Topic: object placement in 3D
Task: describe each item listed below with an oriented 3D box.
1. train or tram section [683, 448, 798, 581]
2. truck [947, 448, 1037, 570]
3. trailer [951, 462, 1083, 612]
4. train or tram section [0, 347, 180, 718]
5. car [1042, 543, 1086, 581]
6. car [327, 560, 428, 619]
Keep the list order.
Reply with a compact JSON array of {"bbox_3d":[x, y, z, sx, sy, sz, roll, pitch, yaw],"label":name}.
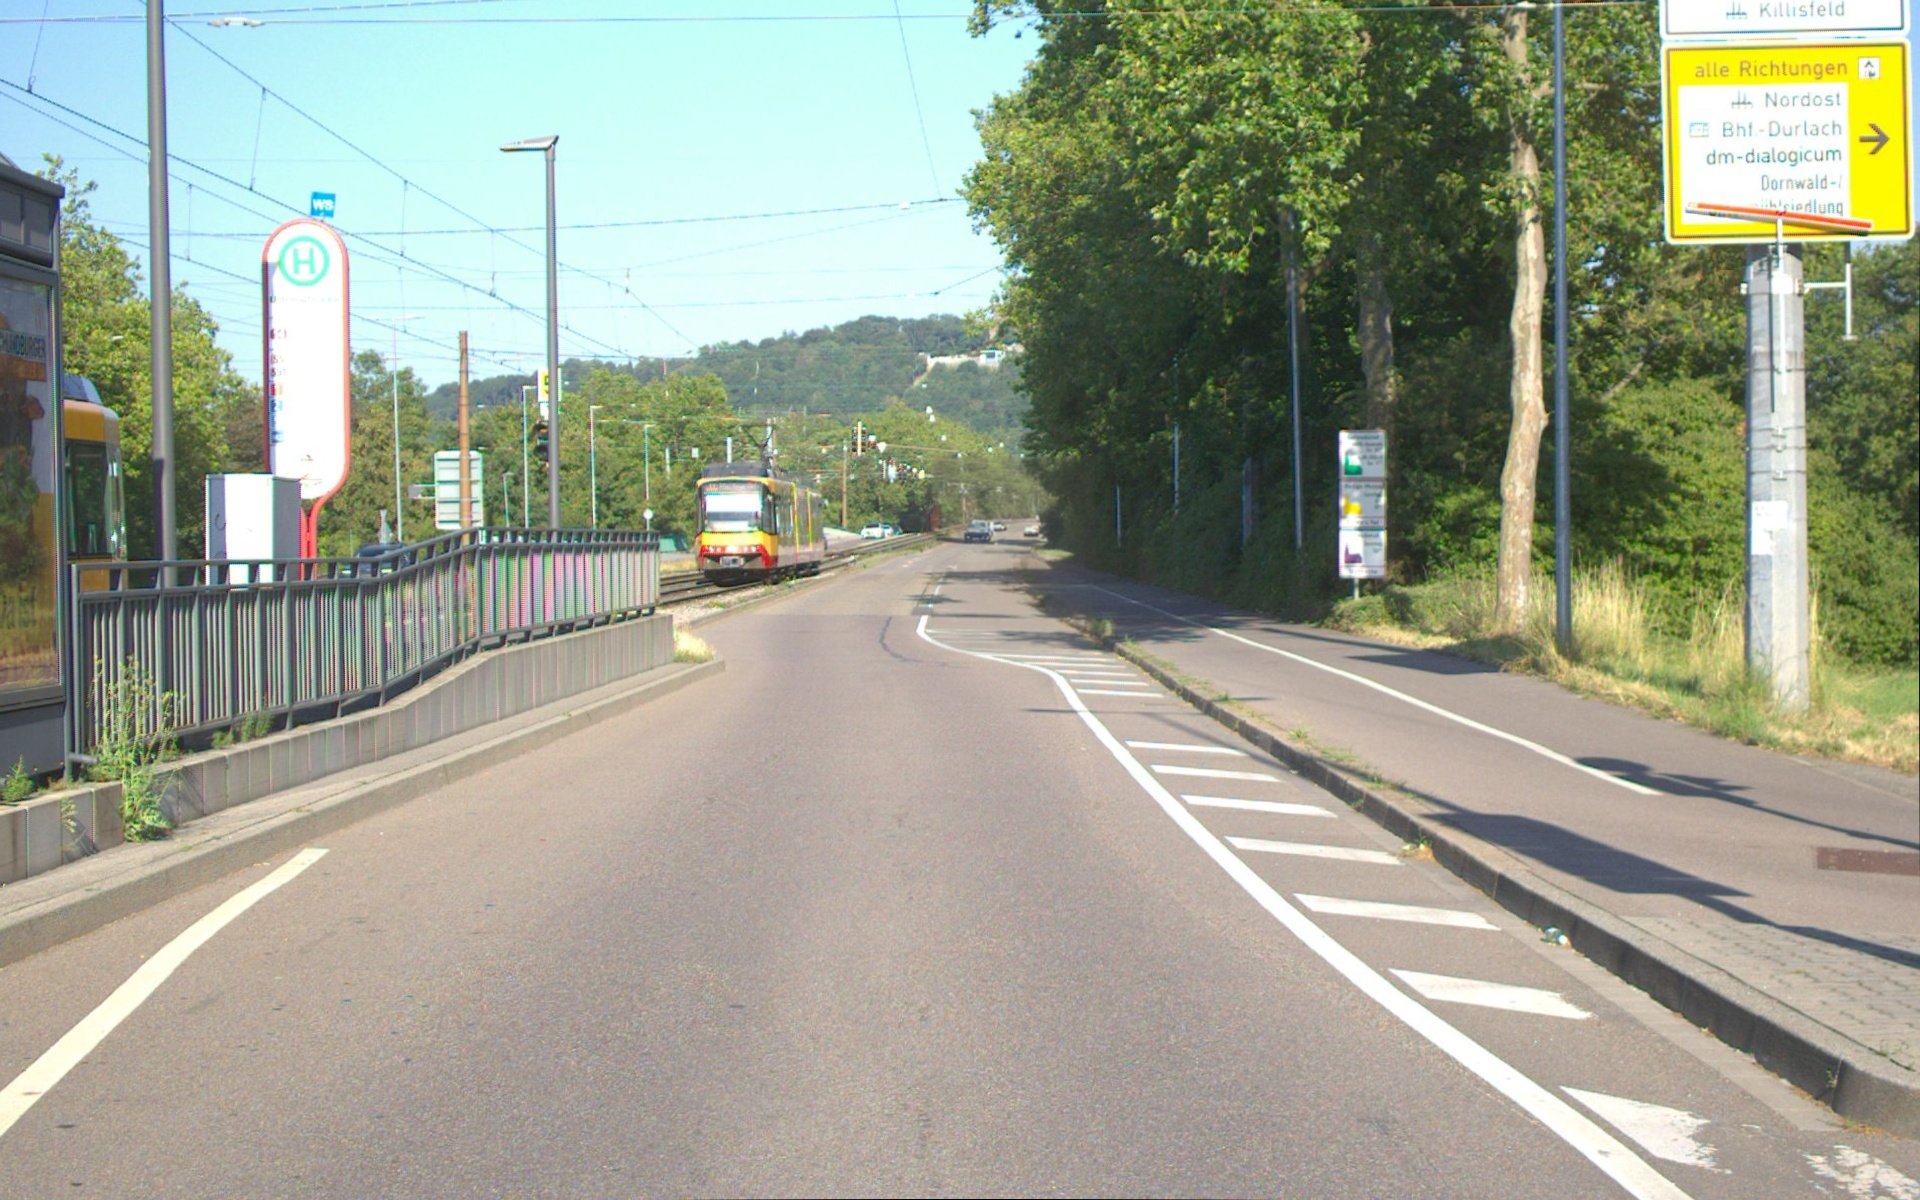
[{"bbox_3d":[-7.137,-2.801,113.586,2.721,4.077,13.616,-1,1,1],"label":"train or tram section"},{"bbox_3d":[0.974,-2.947,112.622,2.742,3.770,10.090,1,1,0],"label":"truck"},{"bbox_3d":[1.129,-1.196,64.808,2.251,2.685,5.946,0,1,3],"label":"trailer"},{"bbox_3d":[-10.911,-0.692,34.777,2.827,3.674,12.969,1,1,1],"label":"train or tram section"},{"bbox_3d":[3.948,-1.457,131.074,1.653,1.432,3.777,0,1,2],"label":"car"},{"bbox_3d":[-16.202,-0.306,95.842,1.993,1.556,4.543,0,1,1],"label":"car"}]
